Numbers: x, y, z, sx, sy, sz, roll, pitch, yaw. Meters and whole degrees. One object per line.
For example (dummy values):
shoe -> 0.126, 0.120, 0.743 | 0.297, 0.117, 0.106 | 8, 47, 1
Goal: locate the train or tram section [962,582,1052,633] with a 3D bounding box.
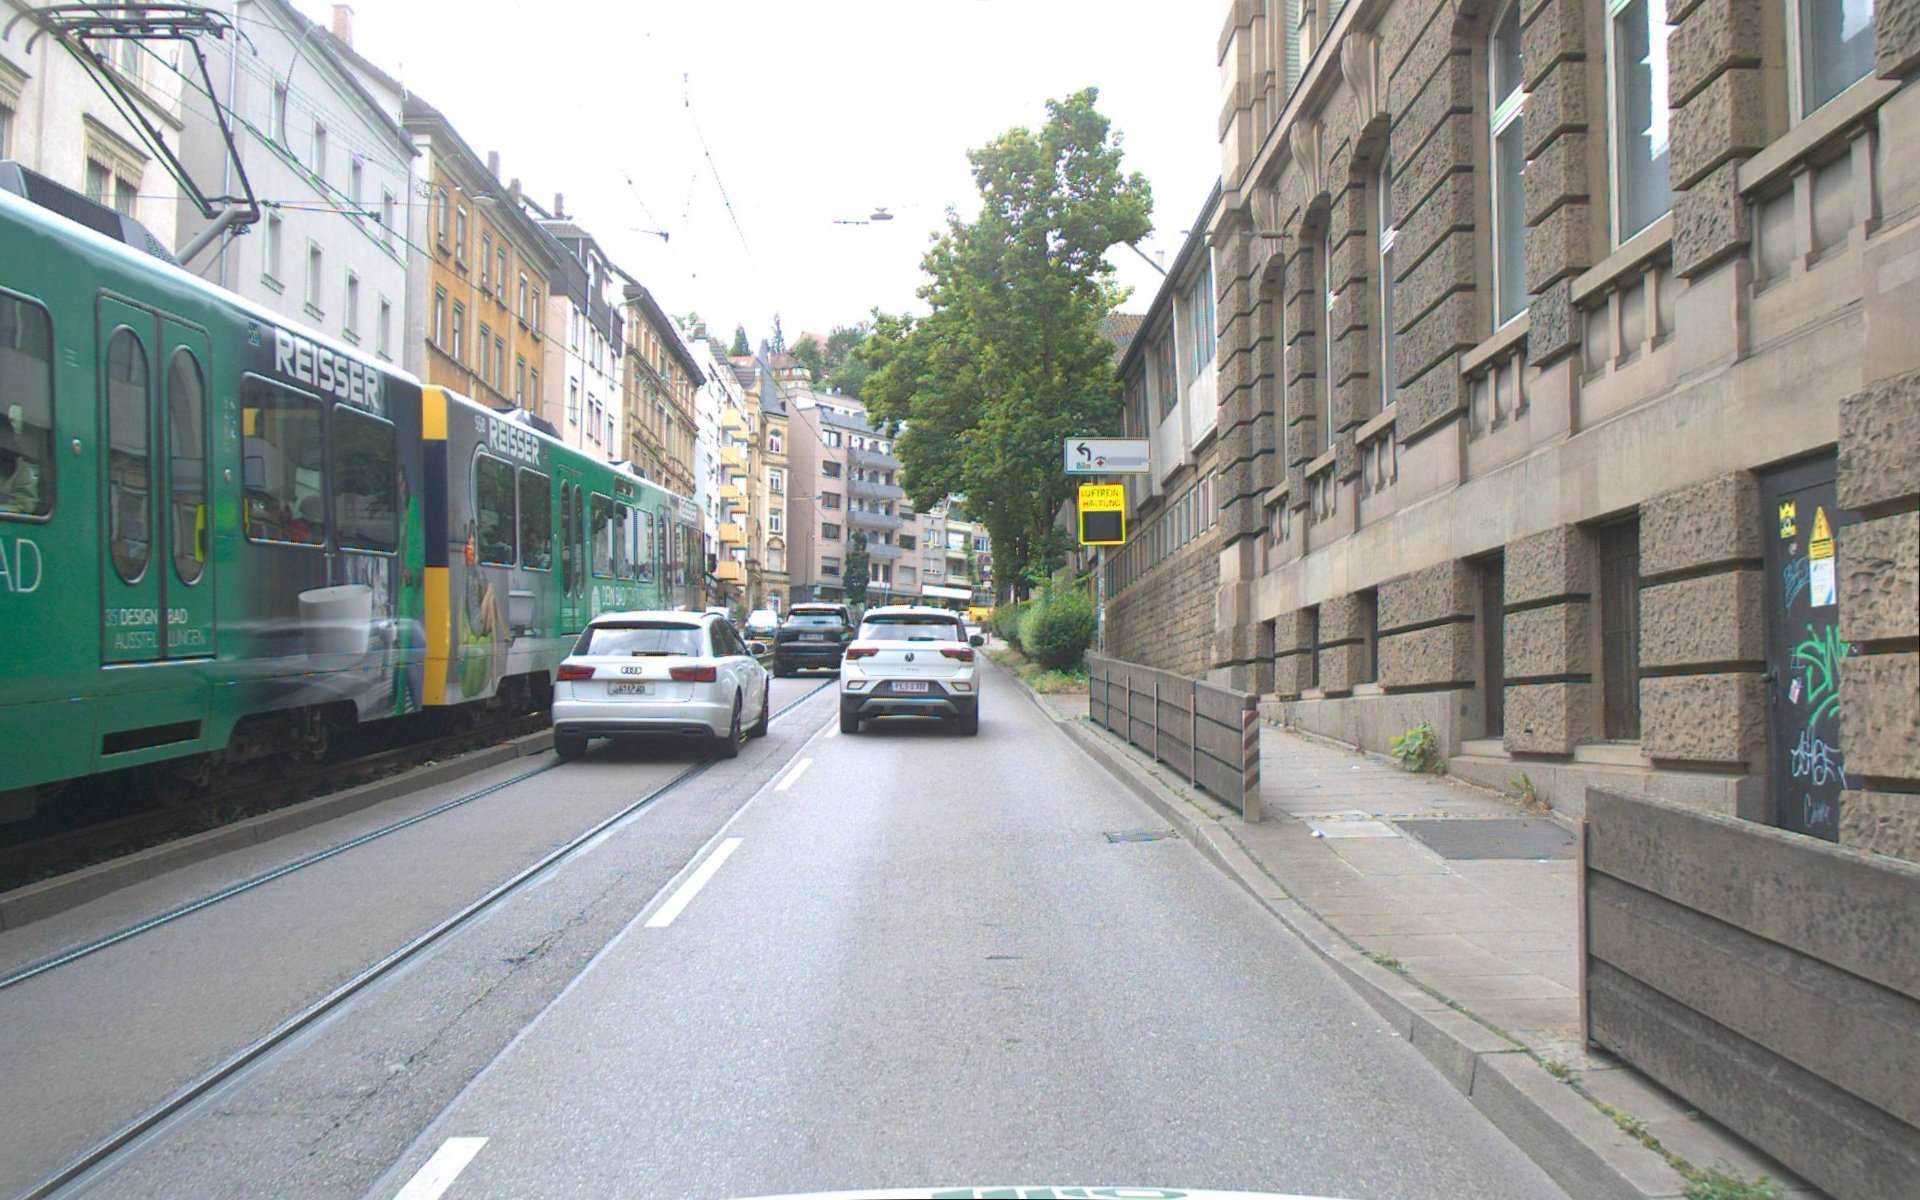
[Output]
train or tram section -> 4.462, 0.789, 149.028 | 2.953, 4.287, 18.867 | 1, -1, 17

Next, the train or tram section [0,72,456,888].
train or tram section -> -5.847, -0.598, 5.466 | 2.818, 3.791, 18.751 | 2, 0, -1

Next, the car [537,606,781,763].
car -> -3.090, 0.844, 17.932 | 1.840, 1.480, 4.616 | 0, -1, -1

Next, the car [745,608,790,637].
car -> -9.945, 1.151, 85.686 | 1.806, 1.480, 4.660 | 1, 0, -1

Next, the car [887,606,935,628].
car -> -4.586, 1.594, 154.829 | 1.961, 2.071, 4.682 | 0, -1, 37

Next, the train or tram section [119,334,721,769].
train or tram section -> -6.185, -0.379, 24.211 | 2.818, 3.791, 18.752 | 2, 0, -1

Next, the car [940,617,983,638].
car -> 0.199, 2.641, 160.269 | 1.873, 1.956, 4.416 | 0, -1, 38

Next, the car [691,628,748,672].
car -> -9.463, 1.955, 65.215 | 1.708, 1.624, 3.968 | 1, -1, -1

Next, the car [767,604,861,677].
car -> -3.358, 0.900, 38.752 | 1.997, 1.599, 4.355 | 1, 0, -3

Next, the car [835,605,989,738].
car -> -0.648, 0.870, 21.856 | 1.841, 1.582, 3.998 | 1, 0, -2
